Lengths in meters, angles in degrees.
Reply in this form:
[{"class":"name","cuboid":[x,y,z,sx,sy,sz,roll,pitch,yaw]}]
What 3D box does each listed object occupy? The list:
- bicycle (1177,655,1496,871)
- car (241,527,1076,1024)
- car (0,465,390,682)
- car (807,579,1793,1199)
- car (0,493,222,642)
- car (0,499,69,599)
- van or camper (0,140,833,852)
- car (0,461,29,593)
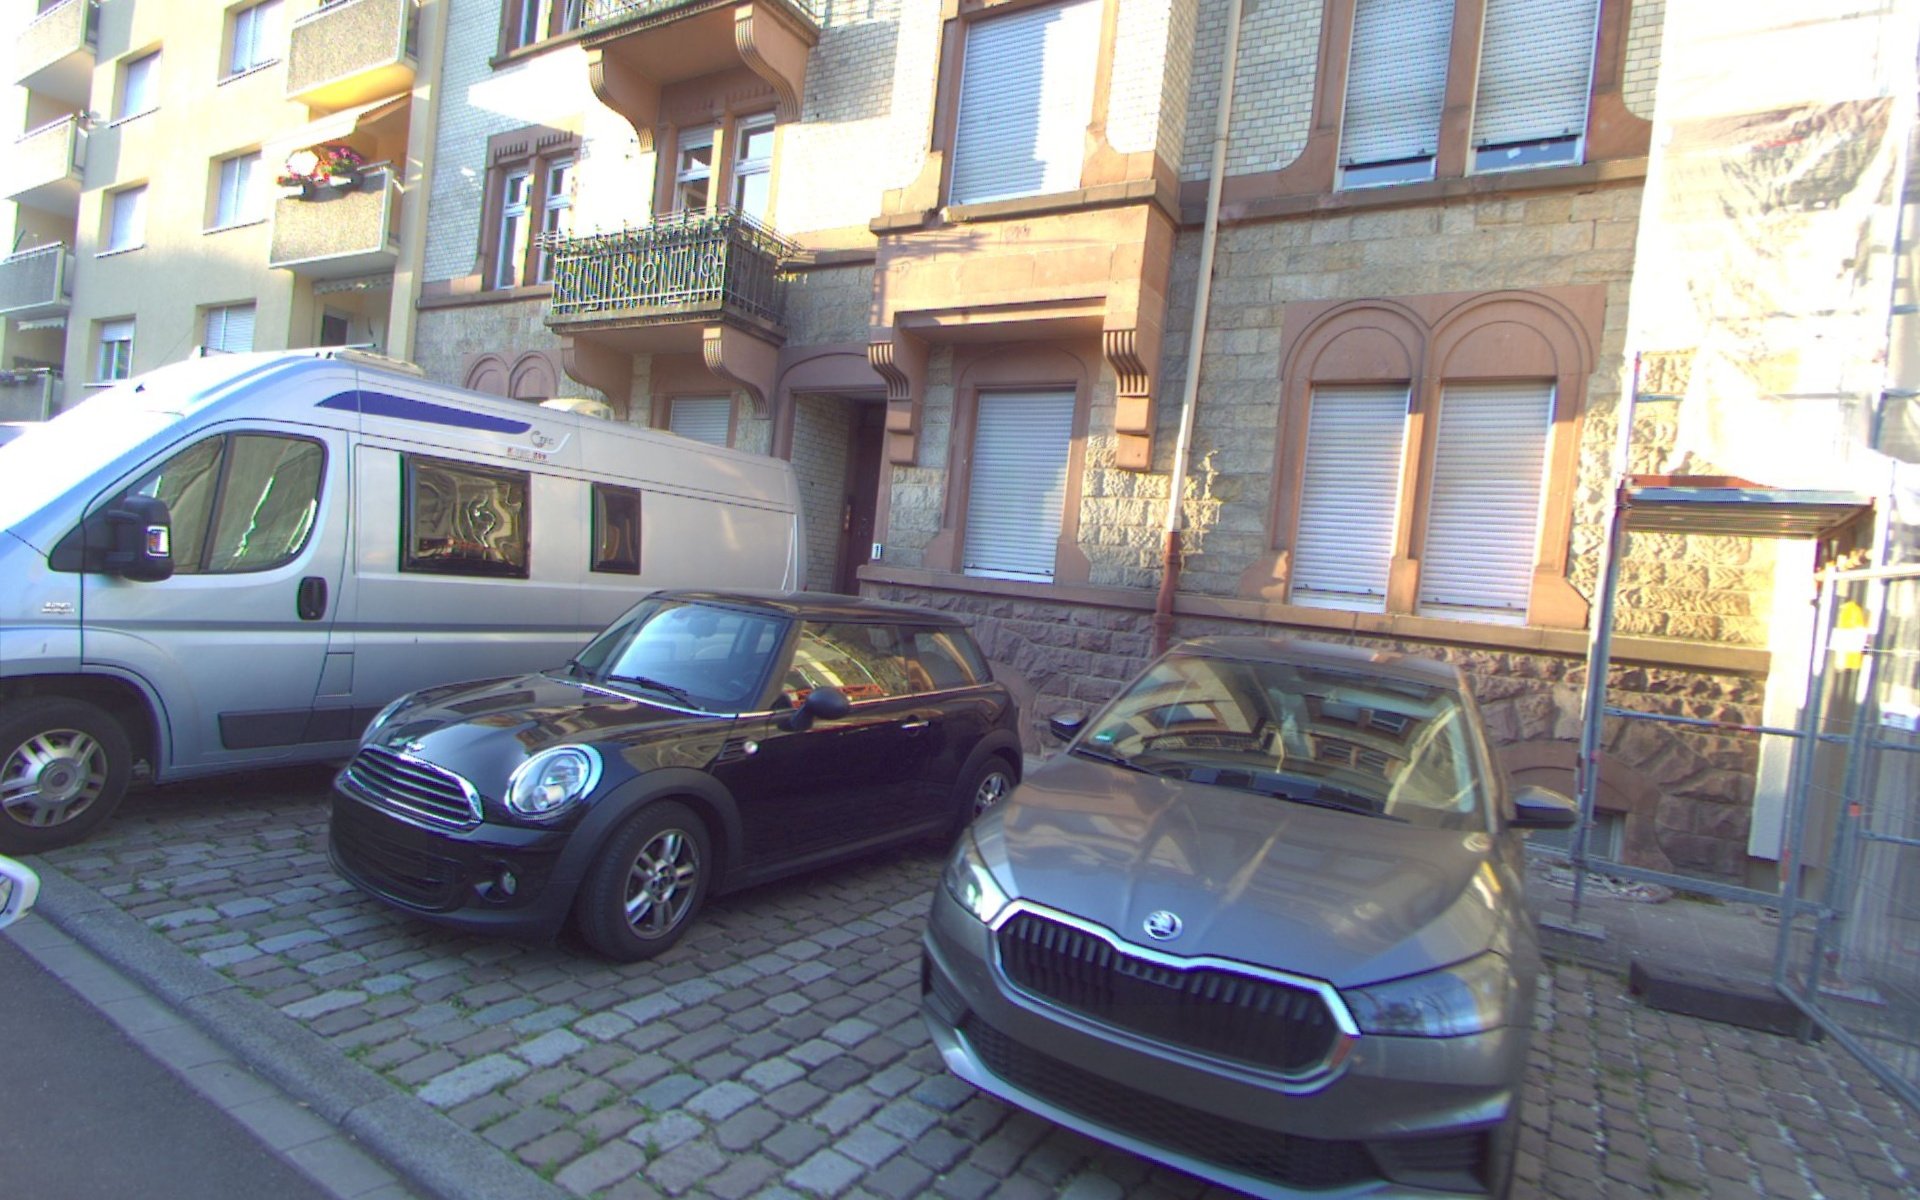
[{"class":"bicycle","cuboid":[2.715,1.127,7.371,1.999,1.182,0.632,7,0,26]},{"class":"car","cuboid":[-1.098,0.578,5.259,1.758,1.505,3.934,5,1,33]},{"class":"car","cuboid":[-8.073,-0.251,9.457,1.741,1.750,4.443,6,1,25]},{"class":"car","cuboid":[1.426,0.842,4.042,1.984,1.536,3.991,6,2,27]},{"class":"car","cuboid":[-10.409,-0.398,10.466,1.803,1.473,3.991,6,2,27]},{"class":"car","cuboid":[-15.682,-0.896,14.251,1.690,1.444,4.239,6,1,31]},{"class":"van or camper","cuboid":[-3.591,-0.279,6.446,2.074,2.802,5.940,6,-1,30]},{"class":"car","cuboid":[-17.922,-1.490,15.528,1.966,2.171,4.715,7,-1,30]}]
